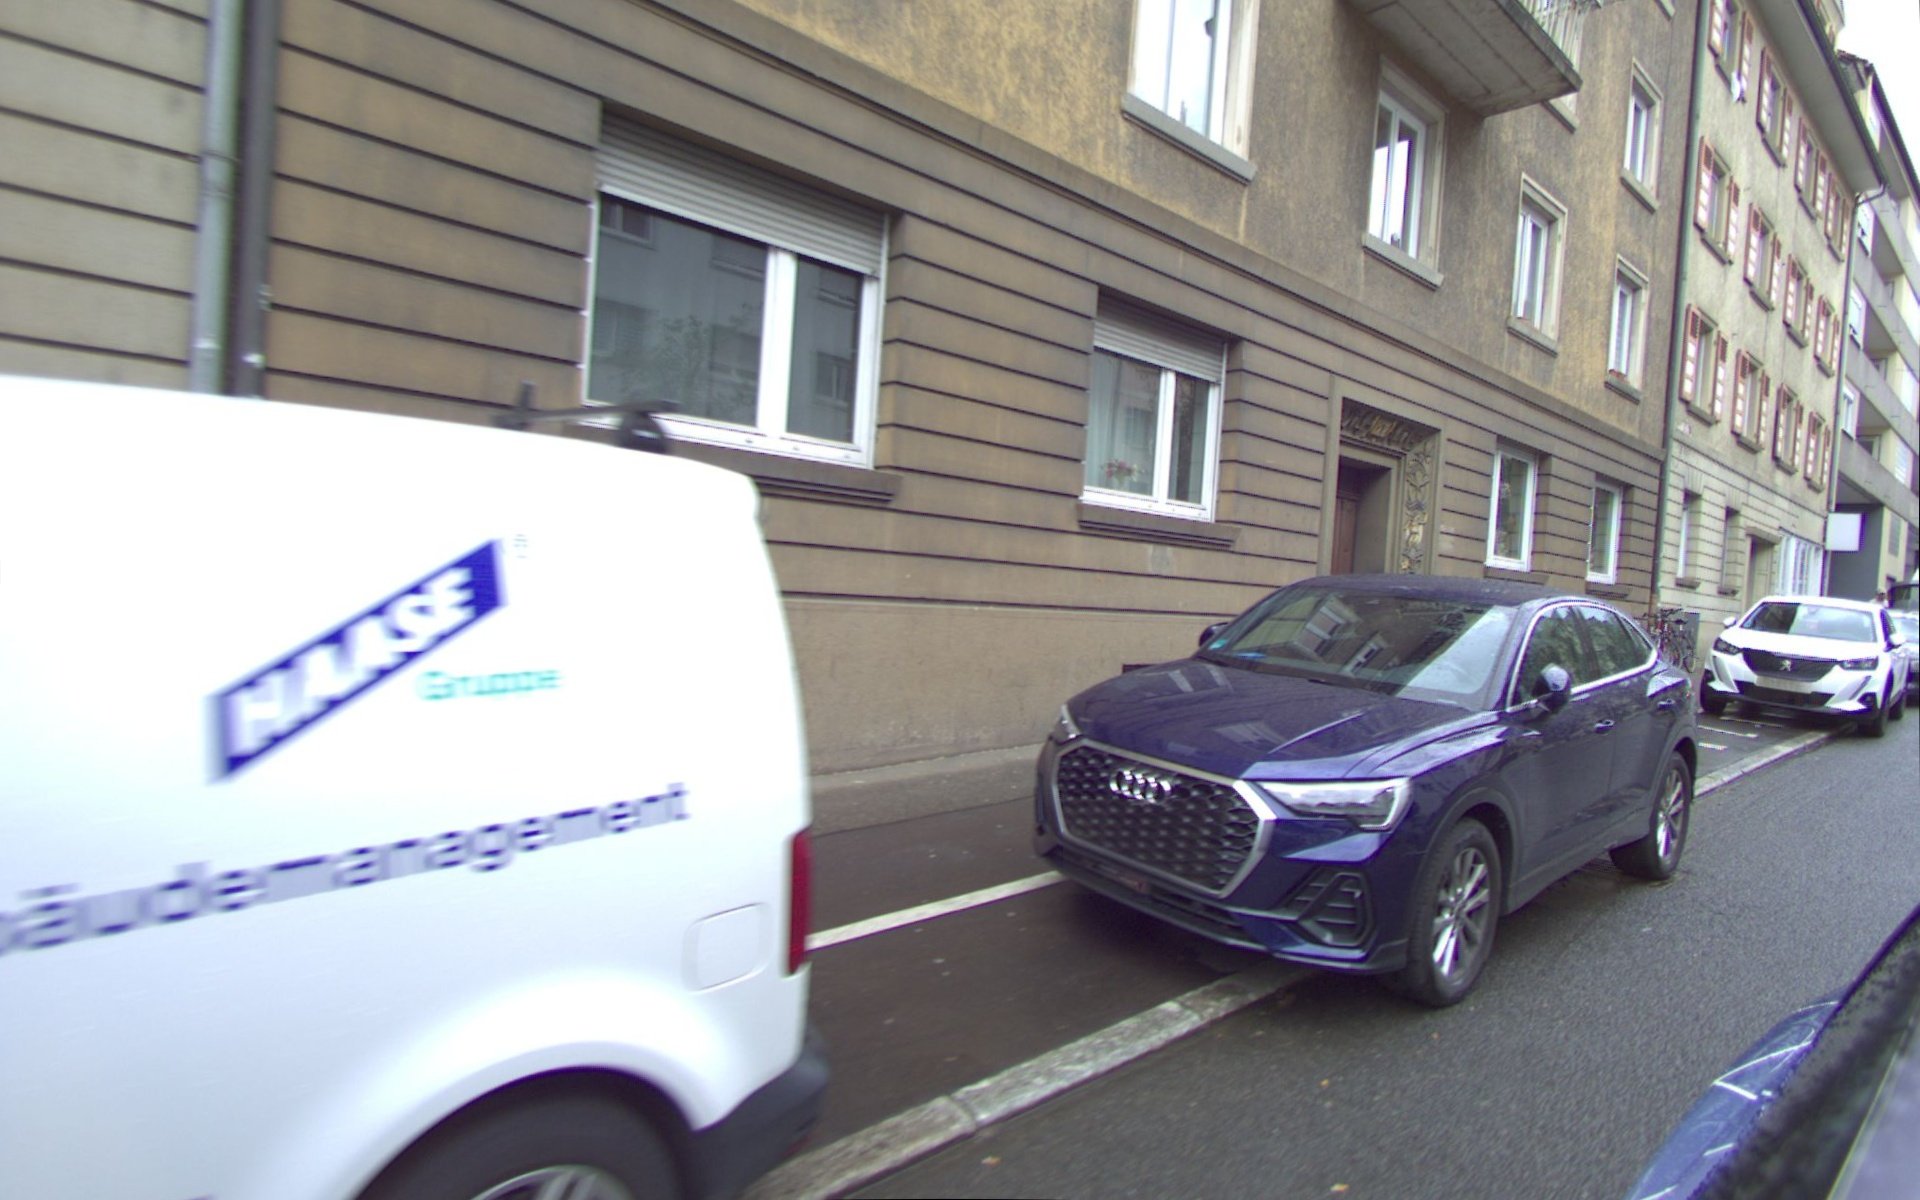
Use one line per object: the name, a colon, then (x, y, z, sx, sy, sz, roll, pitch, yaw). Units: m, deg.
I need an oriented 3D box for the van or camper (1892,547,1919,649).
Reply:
van or camper: (28.767, 0.012, 28.542, 6.296, 2.732, 2.193, 1, 3, -35)

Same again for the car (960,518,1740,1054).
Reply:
car: (2.184, 0.509, 5.038, 4.151, 1.566, 1.795, 0, 4, -41)

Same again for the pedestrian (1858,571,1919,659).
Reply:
pedestrian: (20.103, 0.309, 21.907, 0.680, 1.808, 0.707, 5, 5, 26)

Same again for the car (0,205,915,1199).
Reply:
car: (-2.220, 0.383, 1.477, 4.009, 1.839, 1.795, 0, 4, -41)

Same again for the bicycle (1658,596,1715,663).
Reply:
bicycle: (12.810, 0.501, 17.827, 2.069, 1.086, 0.248, -1, 6, -41)

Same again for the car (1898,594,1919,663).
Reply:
car: (22.716, 0.651, 23.001, 4.120, 1.497, 1.780, 0, 3, -44)

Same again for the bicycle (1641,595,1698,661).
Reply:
bicycle: (12.631, 0.479, 18.000, 2.069, 1.086, 0.248, -1, 6, -41)

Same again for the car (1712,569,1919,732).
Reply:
car: (11.243, 0.520, 13.038, 4.124, 1.657, 1.635, 0, 6, -43)

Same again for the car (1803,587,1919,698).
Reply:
car: (15.149, 0.619, 16.451, 3.672, 1.495, 1.636, 0, 7, -43)

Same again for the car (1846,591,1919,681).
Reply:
car: (18.585, 0.646, 19.394, 4.508, 1.497, 1.781, -1, 4, -41)
